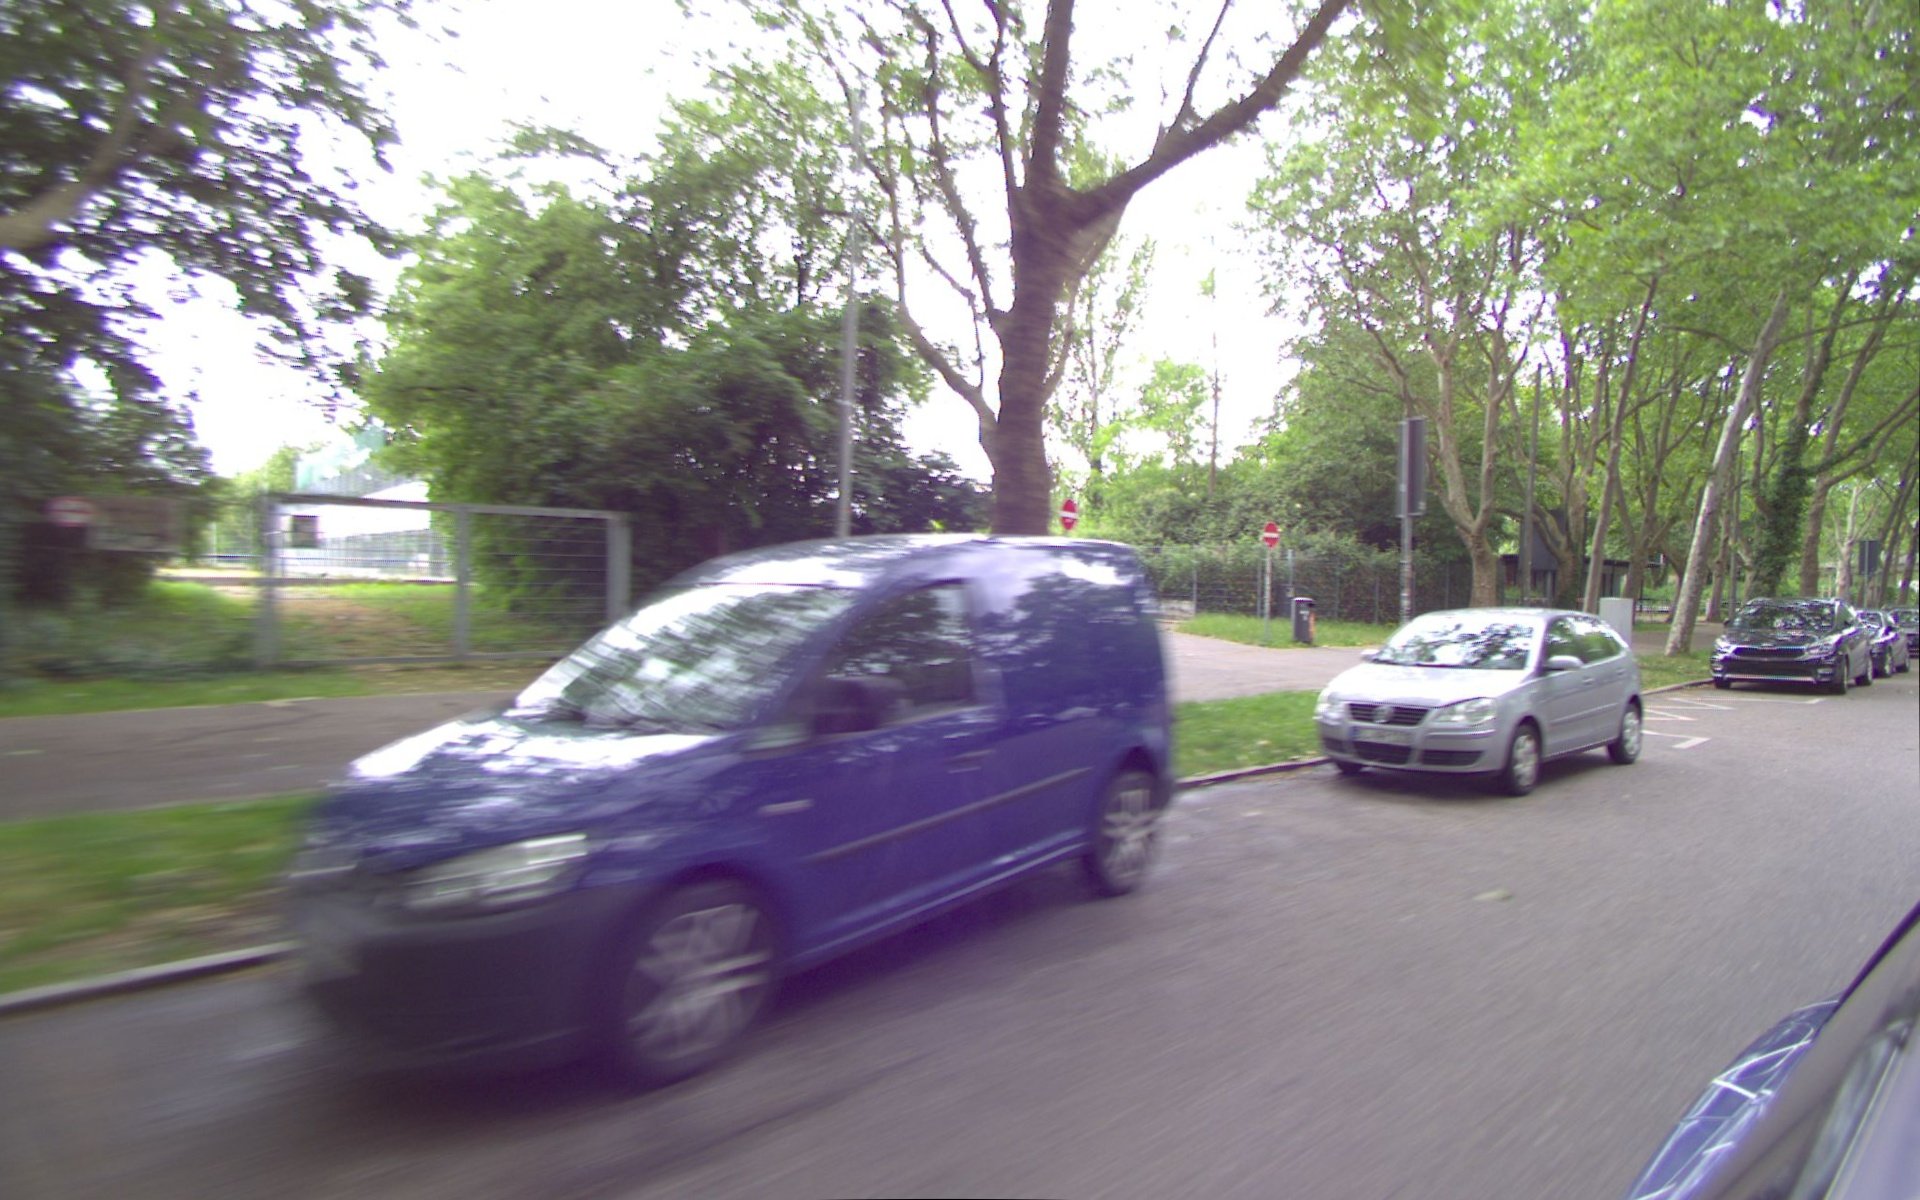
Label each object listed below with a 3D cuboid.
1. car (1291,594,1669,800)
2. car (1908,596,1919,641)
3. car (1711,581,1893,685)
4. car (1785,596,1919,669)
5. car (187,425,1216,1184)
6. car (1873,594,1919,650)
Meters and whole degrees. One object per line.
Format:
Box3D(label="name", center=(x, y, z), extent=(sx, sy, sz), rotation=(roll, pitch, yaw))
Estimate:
Box3D(label="car", center=(4.810, 0.704, 9.147), extent=(3.875, 1.480, 1.622), rotation=(0, -1, -39))
Box3D(label="car", center=(33.502, 0.612, 34.093), extent=(4.077, 1.490, 1.742), rotation=(0, -1, -39))
Box3D(label="car", center=(14.995, 0.531, 17.936), extent=(4.390, 1.623, 1.831), rotation=(0, -1, -42))
Box3D(label="car", center=(19.479, 0.643, 21.915), extent=(4.211, 1.436, 1.779), rotation=(0, -1, -40))
Box3D(label="car", center=(-0.662, 0.495, 4.694), extent=(1.840, 1.806, 4.381), rotation=(-1, -1, 41))
Box3D(label="car", center=(28.432, 0.628, 29.825), extent=(4.320, 1.573, 1.779), rotation=(0, -1, -42))
